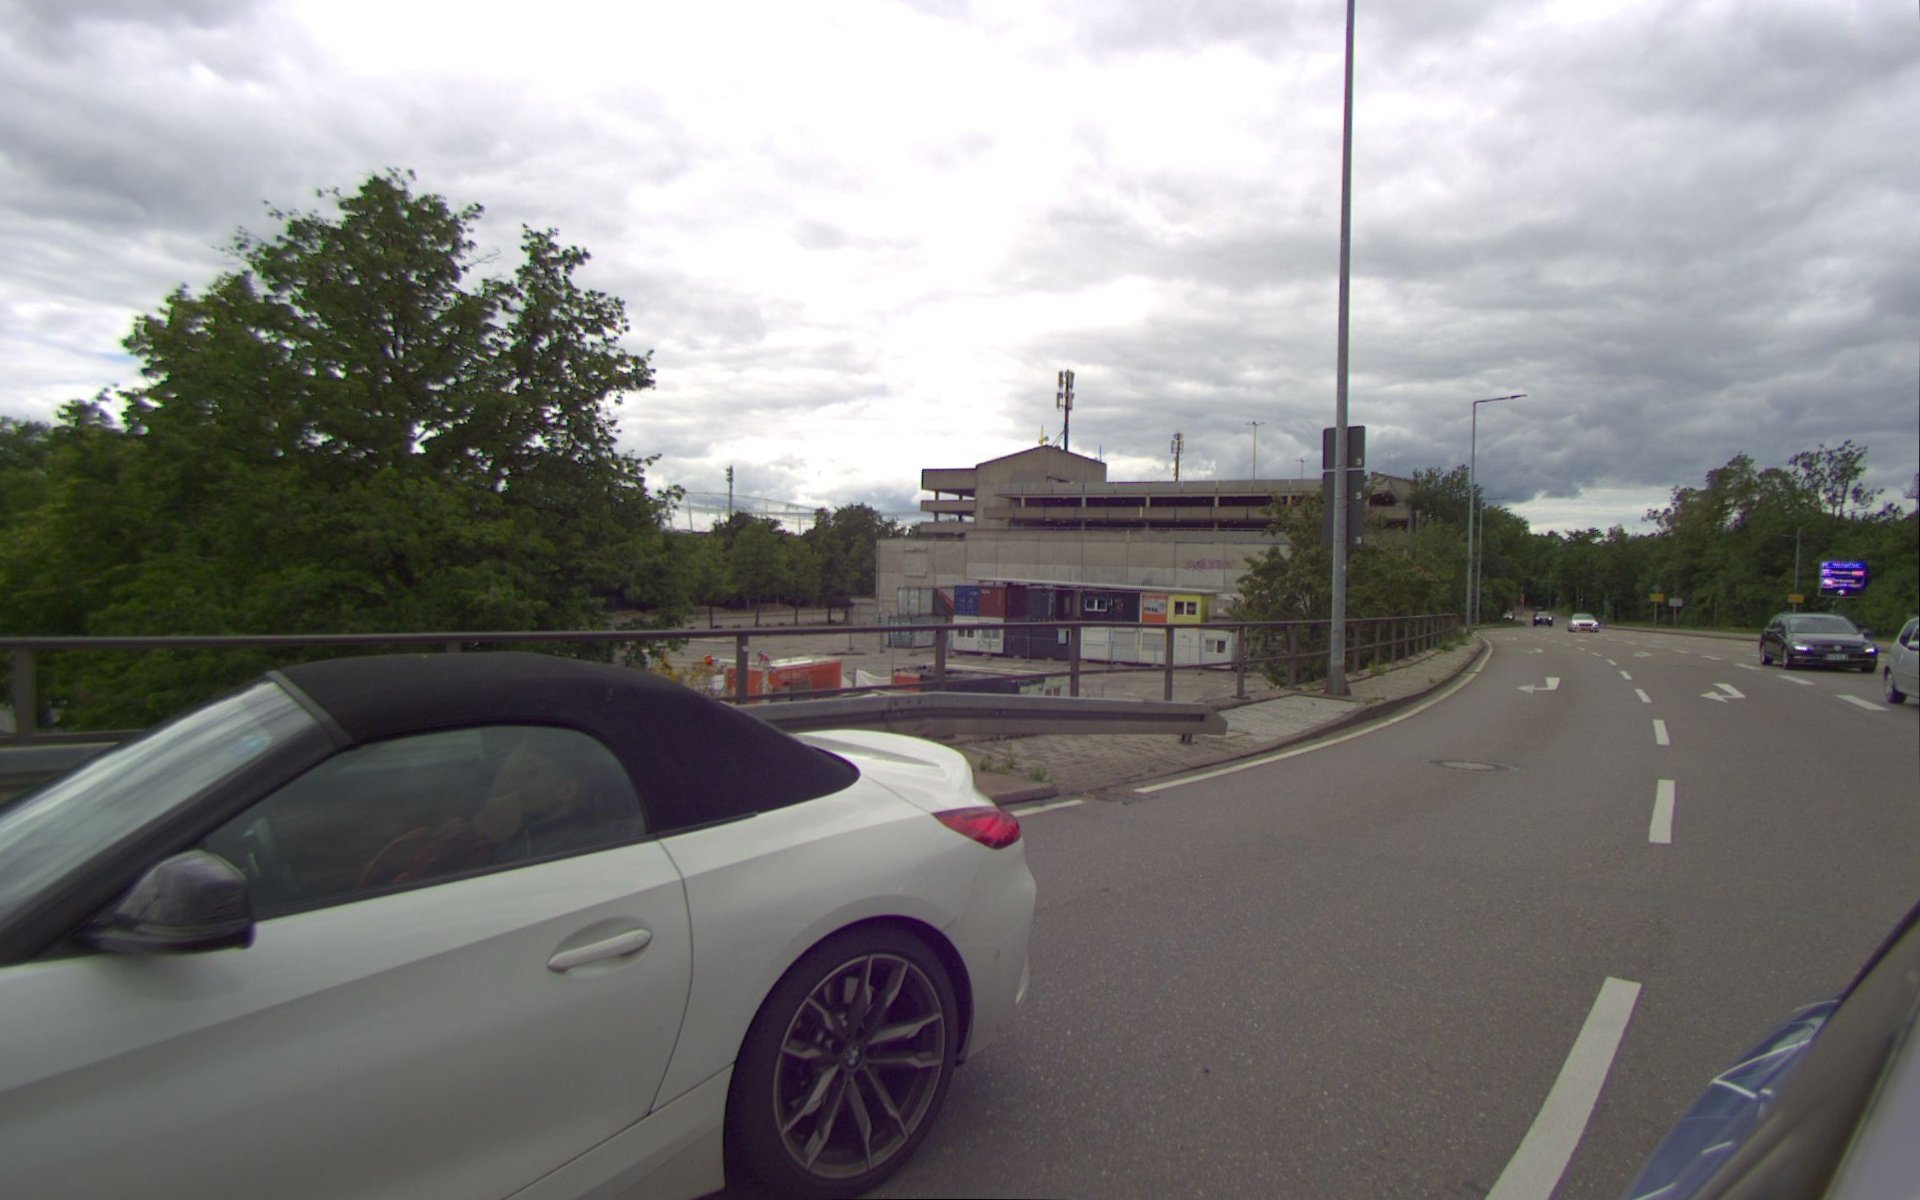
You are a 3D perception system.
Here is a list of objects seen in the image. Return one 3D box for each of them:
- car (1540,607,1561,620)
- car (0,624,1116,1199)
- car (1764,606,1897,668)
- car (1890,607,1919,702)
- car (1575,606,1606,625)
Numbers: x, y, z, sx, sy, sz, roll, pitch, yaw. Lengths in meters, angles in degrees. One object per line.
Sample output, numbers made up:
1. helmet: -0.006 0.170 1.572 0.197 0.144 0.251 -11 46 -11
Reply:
1. car: 68.602 1.537 117.551 1.848 1.434 4.297 1 0 27
2. car: -1.712 0.760 2.411 4.186 1.308 1.809 0 0 -39
3. car: 22.435 0.881 26.264 1.851 1.434 4.291 1 0 30
4. car: 15.218 0.835 14.874 1.598 1.434 3.550 1 0 31
5. car: 49.766 1.226 79.906 1.849 1.434 4.294 1 0 29
